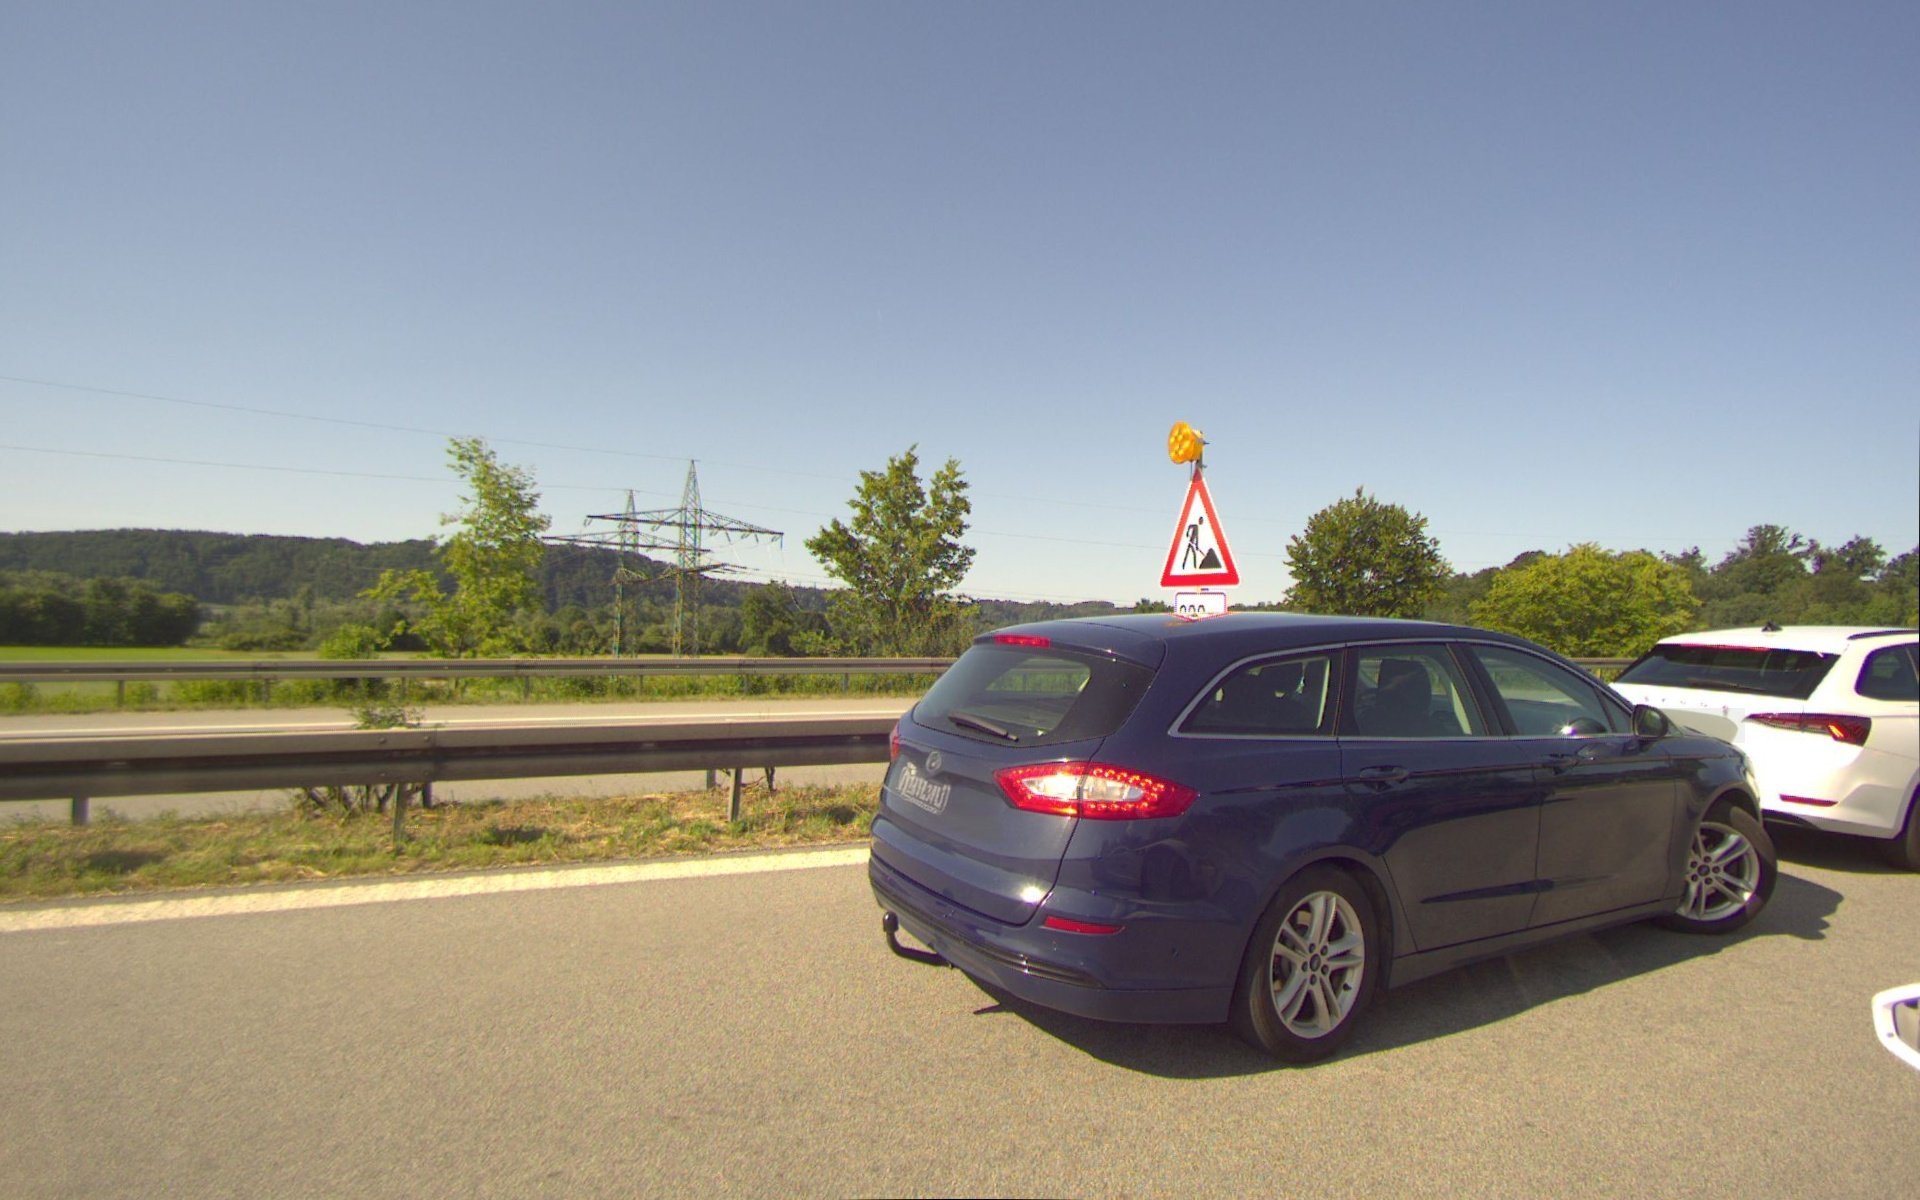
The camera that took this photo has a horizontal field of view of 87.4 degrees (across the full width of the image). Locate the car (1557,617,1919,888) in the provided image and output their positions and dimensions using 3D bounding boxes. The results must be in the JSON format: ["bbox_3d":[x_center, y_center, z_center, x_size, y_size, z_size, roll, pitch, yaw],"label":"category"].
[{"bbox_3d":[6.483,0.901,7.102,4.148,1.461,1.692,1,0,-21],"label":"car"}]

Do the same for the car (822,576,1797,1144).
[{"bbox_3d":[1.774,0.752,4.593,4.440,1.513,1.779,1,-1,-31],"label":"car"}]
